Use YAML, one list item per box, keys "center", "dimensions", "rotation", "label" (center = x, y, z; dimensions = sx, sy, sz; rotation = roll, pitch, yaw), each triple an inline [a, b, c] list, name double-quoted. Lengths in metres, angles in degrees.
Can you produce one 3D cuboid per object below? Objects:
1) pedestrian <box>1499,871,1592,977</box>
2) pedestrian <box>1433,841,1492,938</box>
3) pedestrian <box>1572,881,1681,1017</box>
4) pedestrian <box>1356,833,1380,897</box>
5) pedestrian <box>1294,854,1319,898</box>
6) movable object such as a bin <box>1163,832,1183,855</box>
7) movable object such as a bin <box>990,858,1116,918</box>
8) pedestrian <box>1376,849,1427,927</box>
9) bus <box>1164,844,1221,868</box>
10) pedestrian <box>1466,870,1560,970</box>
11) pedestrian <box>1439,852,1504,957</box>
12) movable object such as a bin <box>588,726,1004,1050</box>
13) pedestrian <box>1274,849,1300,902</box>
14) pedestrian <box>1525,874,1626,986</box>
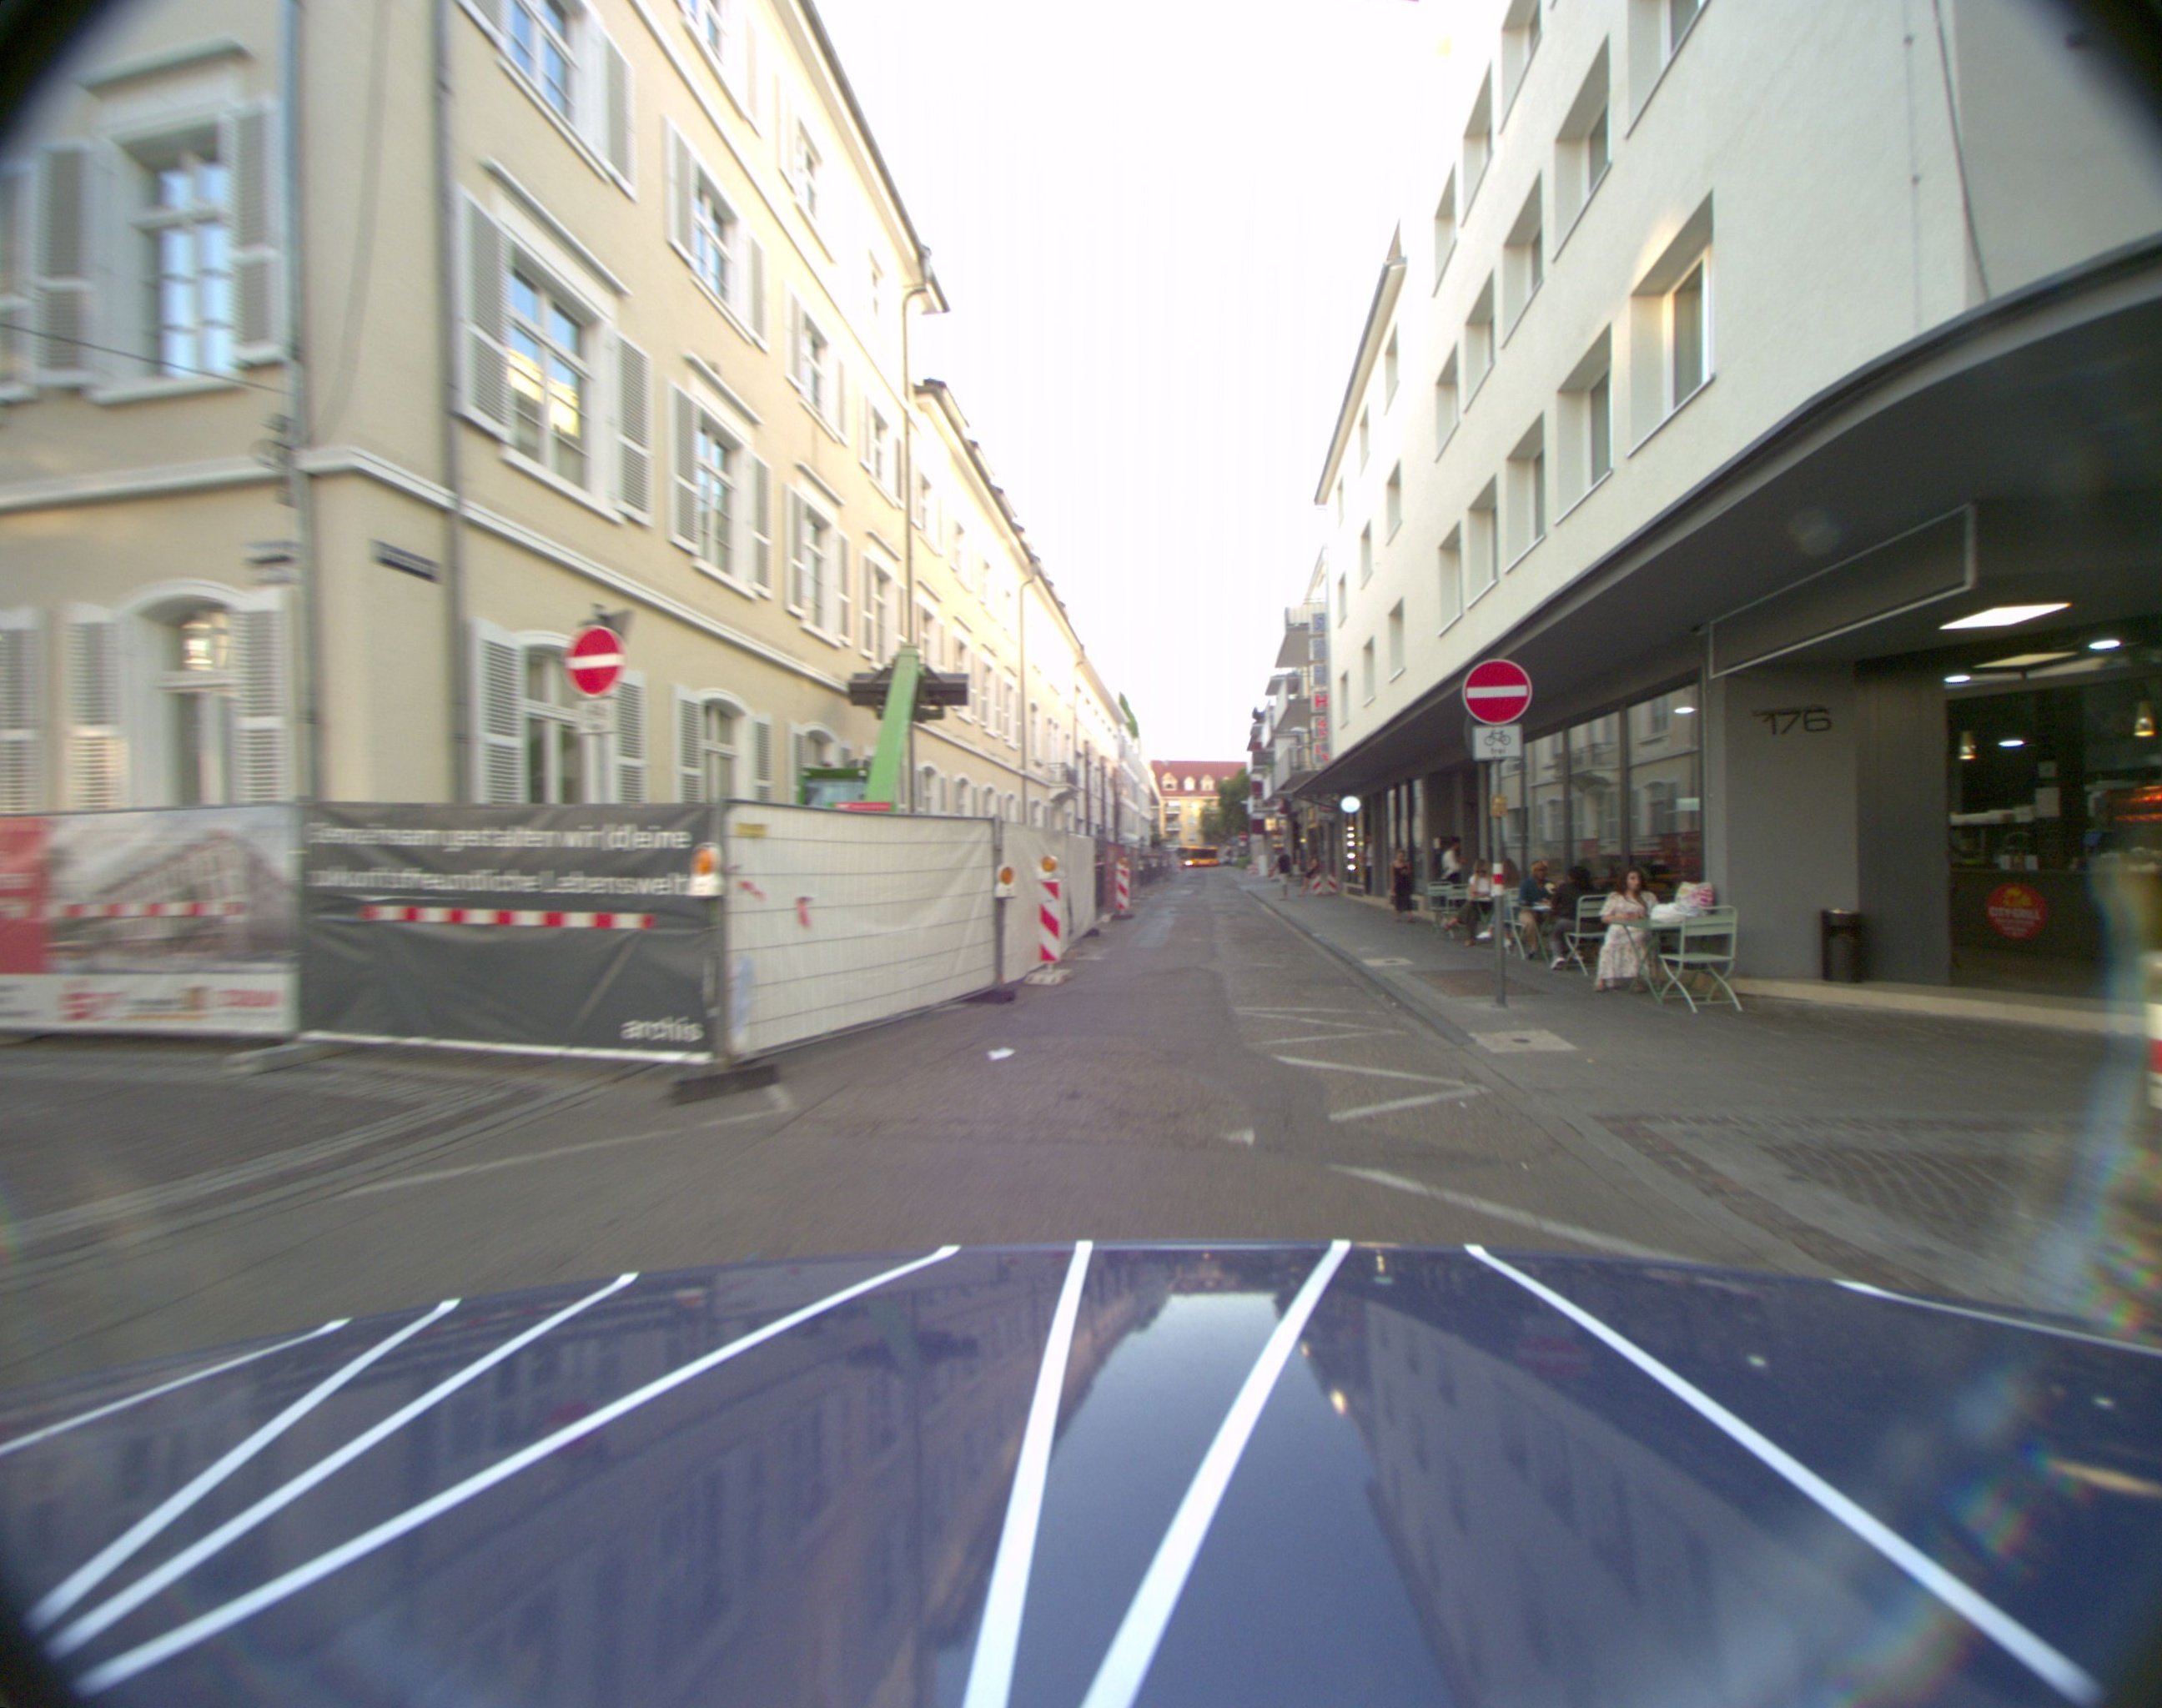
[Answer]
- center: [5.857, 0.863, 9.631]
  dimensions: [0.705, 1.232, 0.778]
  rotation: [-5, 0, 12]
  label: "pedestrian"
- center: [7.040, 0.650, 14.067]
  dimensions: [0.783, 1.729, 0.760]
  rotation: [-2, -1, 17]
  label: "pedestrian"
- center: [5.397, 0.891, 7.514]
  dimensions: [0.843, 1.212, 0.704]
  rotation: [-2, 0, -44]
  label: "pedestrian"
- center: [8.202, 0.318, 21.730]
  dimensions: [0.545, 1.800, 0.613]
  rotation: [0, 1, 9]
  label: "pedestrian"
- center: [8.207, 0.788, 27.703]
  dimensions: [0.710, 1.569, 0.613]
  rotation: [-3, 0, 6]
  label: "pedestrian"
- center: [11.166, -1.267, 91.750]
  dimensions: [2.095, 2.631, 4.376]
  rotation: [-2, 0, 9]
  label: "movable object such as a bin"
- center: [-0.617, 0.975, 24.694]
  dimensions: [2.896, 1.655, 7.299]
  rotation: [0, -1, 7]
  label: "movable object such as a bin"
- center: [6.695, 0.699, 15.865]
  dimensions: [0.659, 1.560, 0.637]
  rotation: [-3, 0, -17]
  label: "pedestrian"
- center: [16.858, 0.185, 113.558]
  dimensions: [3.914, 3.306, 12.557]
  rotation: [0, 1, 31]
  label: "bus"
- center: [5.927, 0.876, 10.460]
  dimensions: [0.706, 1.278, 0.860]
  rotation: [-2, 0, -15]
  label: "pedestrian"
- center: [5.962, 0.753, 11.640]
  dimensions: [0.705, 1.538, 0.862]
  rotation: [-2, 0, 17]
  label: "pedestrian"
- center: [-2.889, 0.318, 9.623]
  dimensions: [2.640, 2.856, 5.568]
  rotation: [0, 0, 7]
  label: "movable object such as a bin"
- center: [7.064, 0.726, 26.119]
  dimensions: [0.705, 1.771, 0.933]
  rotation: [-2, 0, 9]
  label: "pedestrian"
- center: [5.690, 0.856, 8.781]
  dimensions: [0.705, 1.188, 0.692]
  rotation: [-4, 0, 12]
  label: "pedestrian"
